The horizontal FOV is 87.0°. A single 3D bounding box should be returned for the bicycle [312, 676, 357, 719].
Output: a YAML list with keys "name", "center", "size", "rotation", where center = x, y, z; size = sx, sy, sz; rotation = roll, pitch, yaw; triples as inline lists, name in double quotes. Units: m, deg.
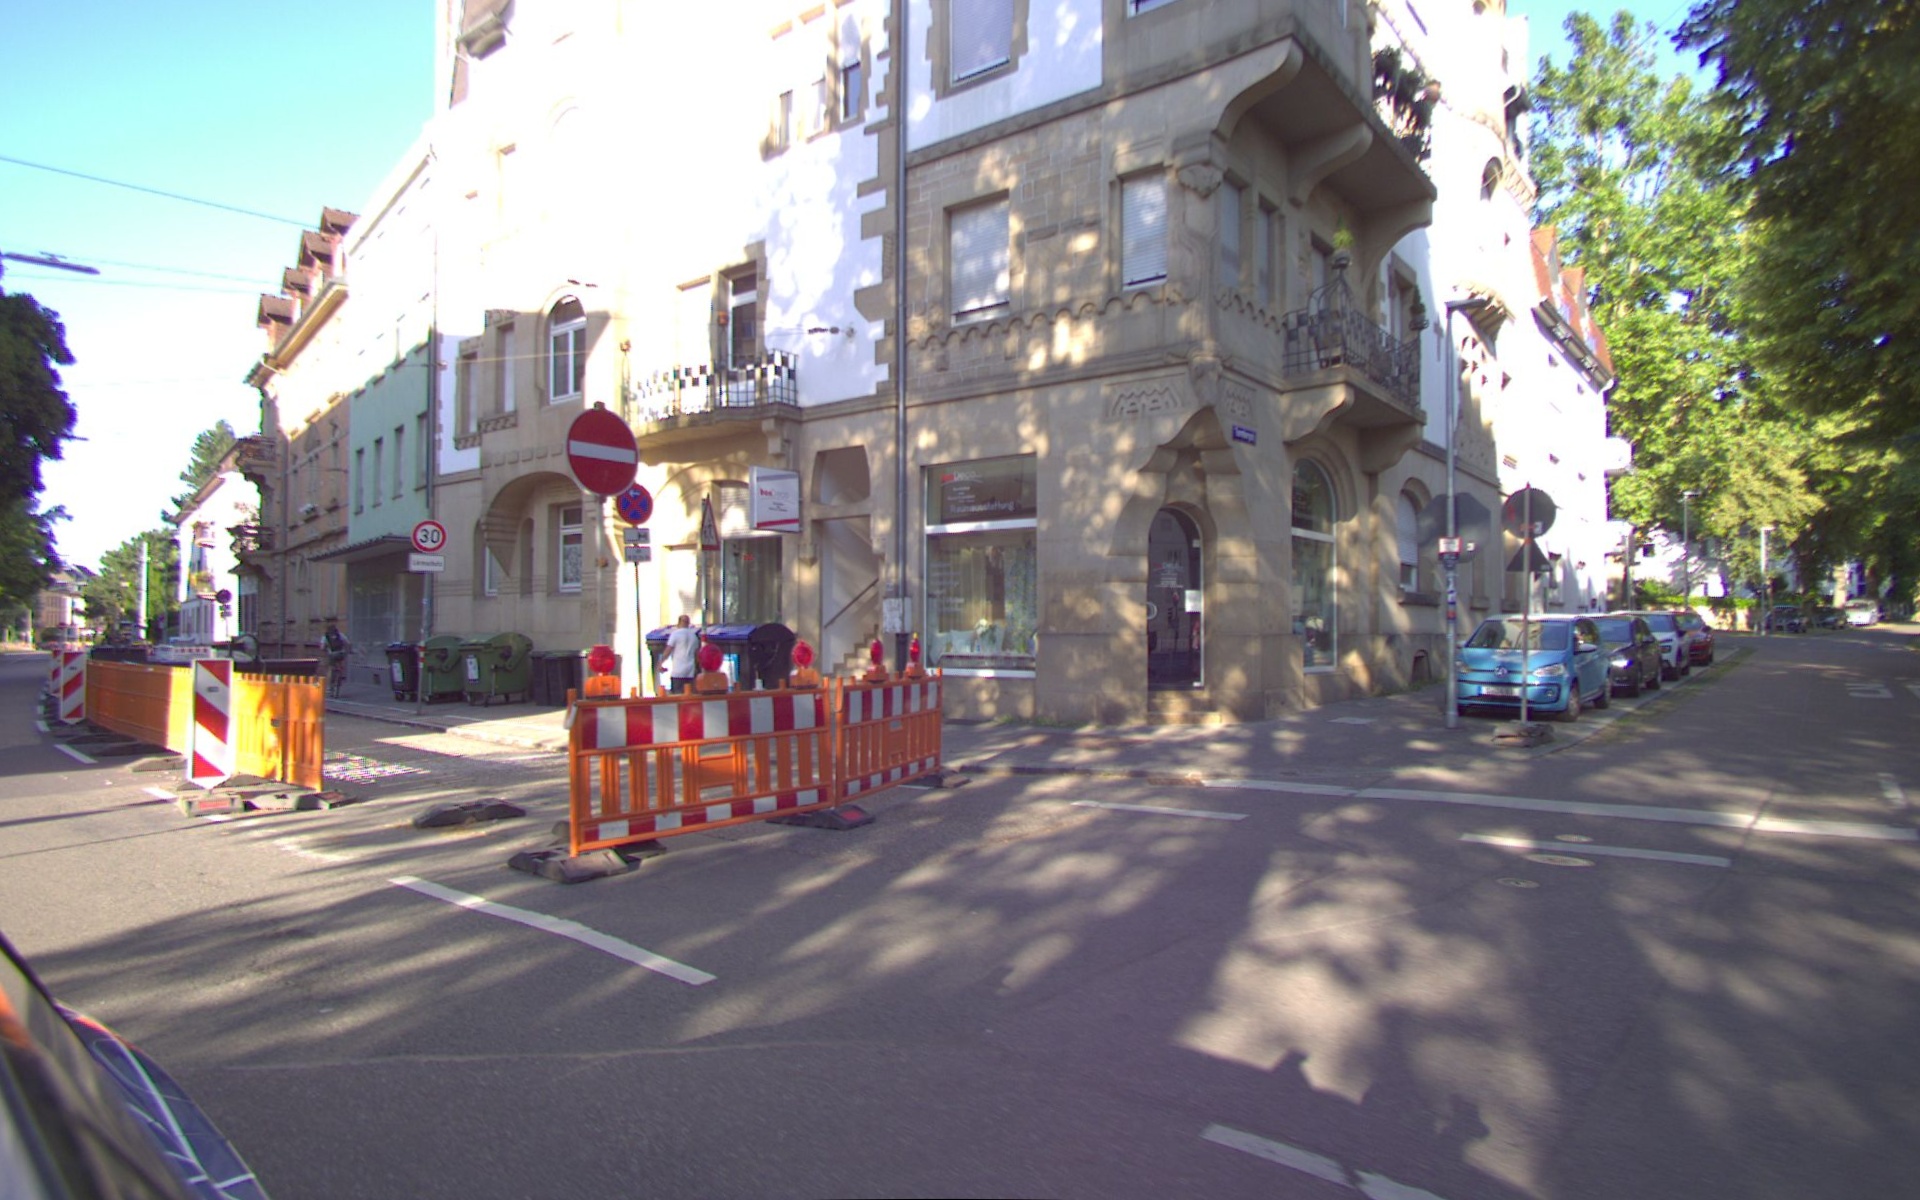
- name: "bicycle"
  center: [-15.394, 2.381, 24.892]
  size: [1.474, 0.939, 0.593]
  rotation: [-3, -1, 44]

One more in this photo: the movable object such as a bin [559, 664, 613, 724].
- name: "movable object such as a bin"
  center: [-6.954, 1.734, 18.827]
  size: [0.763, 1.049, 0.630]
  rotation: [-2, -1, 39]

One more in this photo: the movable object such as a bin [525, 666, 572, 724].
- name: "movable object such as a bin"
  center: [-7.952, 1.831, 19.571]
  size: [0.587, 1.049, 0.630]
  rotation: [-2, -1, 39]

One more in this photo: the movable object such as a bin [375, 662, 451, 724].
- name: "movable object such as a bin"
  center: [-12.162, 2.040, 22.507]
  size: [1.334, 1.273, 1.071]
  rotation: [-2, -1, 40]

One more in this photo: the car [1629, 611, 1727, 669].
- name: "car"
  center: [20.217, 1.100, 28.432]
  size: [1.997, 1.497, 3.948]
  rotation: [-2, -3, 38]

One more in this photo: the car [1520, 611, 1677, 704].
- name: "car"
  center: [11.792, 1.001, 18.581]
  size: [1.997, 1.497, 3.948]
  rotation: [-2, -3, 38]

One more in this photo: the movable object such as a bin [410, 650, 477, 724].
- name: "movable object such as a bin"
  center: [-11.013, 1.815, 21.551]
  size: [1.068, 1.442, 1.410]
  rotation: [-1, -1, -36]

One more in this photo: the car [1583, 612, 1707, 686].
- name: "car"
  center: [15.485, 1.066, 22.804]
  size: [1.997, 1.497, 3.948]
  rotation: [-2, -3, 38]

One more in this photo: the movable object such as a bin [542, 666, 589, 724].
- name: "movable object such as a bin"
  center: [-7.491, 1.798, 19.232]
  size: [0.555, 1.031, 0.630]
  rotation: [-2, -1, 38]

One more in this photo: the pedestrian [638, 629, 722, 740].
- name: "pedestrian"
  center: [-4.290, 1.275, 15.518]
  size: [0.914, 1.615, 0.815]
  rotation: [-2, -1, 31]

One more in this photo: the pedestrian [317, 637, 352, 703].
- name: "pedestrian"
  center: [-15.384, 1.714, 24.883]
  size: [0.616, 1.568, 0.591]
  rotation: [-2, -1, 43]

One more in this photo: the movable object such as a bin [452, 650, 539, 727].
- name: "movable object such as a bin"
  center: [-9.322, 1.744, 20.313]
  size: [1.405, 1.442, 1.072]
  rotation: [-2, -1, 39]

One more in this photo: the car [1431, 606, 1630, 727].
- name: "car"
  center: [8.701, 0.933, 15.280]
  size: [1.997, 1.564, 3.948]
  rotation: [-2, -3, 38]

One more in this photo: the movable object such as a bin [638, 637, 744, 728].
- name: "movable object such as a bin"
  center: [-4.590, 1.377, 17.293]
  size: [1.403, 1.442, 1.073]
  rotation: [-2, -1, 34]

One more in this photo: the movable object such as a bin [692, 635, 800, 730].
- name: "movable object such as a bin"
  center: [-3.464, 1.305, 16.418]
  size: [1.342, 1.442, 1.073]
  rotation: [-2, -1, 34]
